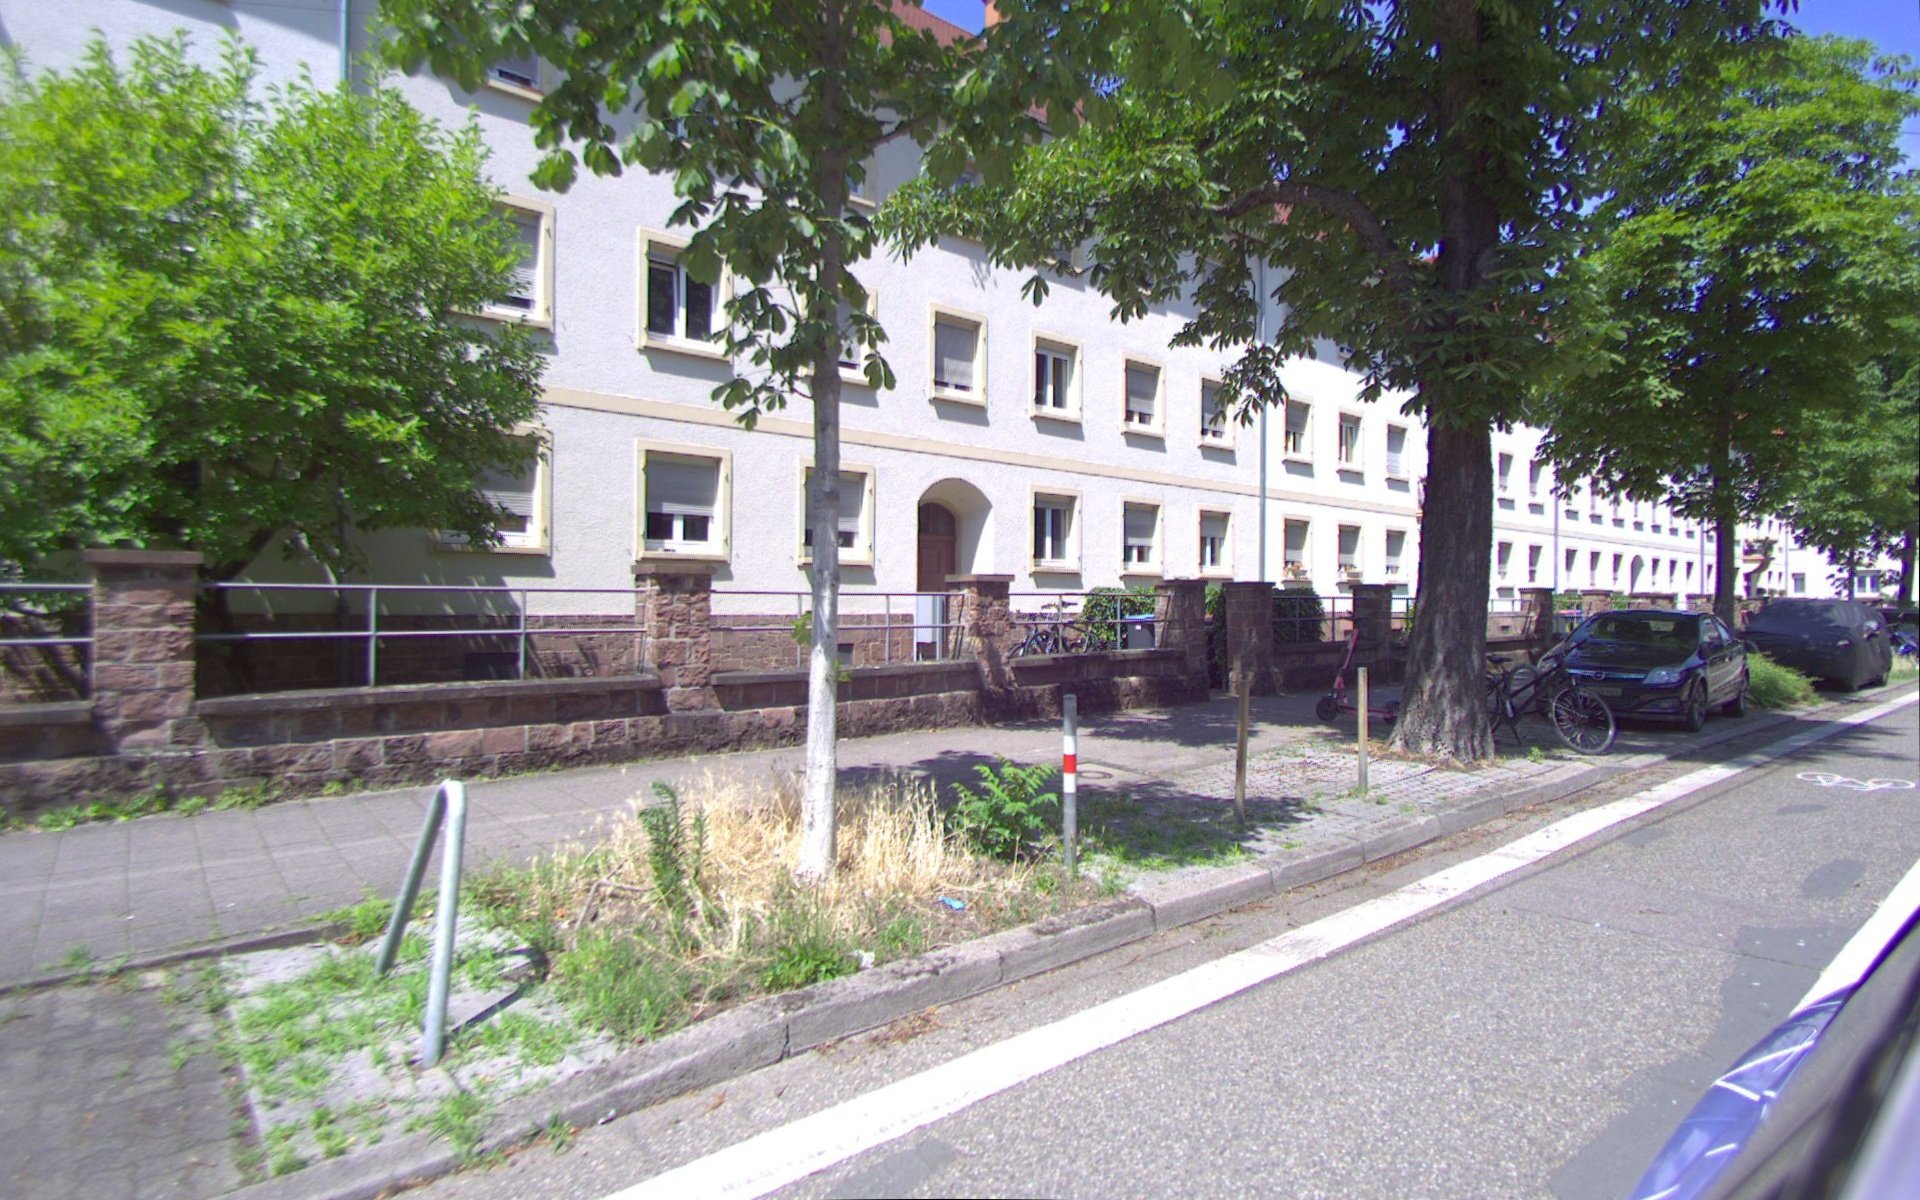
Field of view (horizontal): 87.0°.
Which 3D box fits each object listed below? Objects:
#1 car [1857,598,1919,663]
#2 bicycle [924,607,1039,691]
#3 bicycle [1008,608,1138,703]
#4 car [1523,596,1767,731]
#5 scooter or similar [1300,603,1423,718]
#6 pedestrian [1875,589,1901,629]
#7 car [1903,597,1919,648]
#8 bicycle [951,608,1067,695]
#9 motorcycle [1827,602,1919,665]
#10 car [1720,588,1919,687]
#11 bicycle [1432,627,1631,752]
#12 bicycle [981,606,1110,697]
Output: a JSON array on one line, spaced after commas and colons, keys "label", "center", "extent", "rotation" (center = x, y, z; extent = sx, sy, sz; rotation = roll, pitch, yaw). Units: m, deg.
[{"label": "car", "center": [24.782, 0.761, 26.309], "extent": [4.377, 1.571, 1.735], "rotation": [0, 0, -42]}, {"label": "bicycle", "center": [0.333, 0.660, 14.271], "extent": [0.478, 1.092, 1.894], "rotation": [0, 0, 44]}, {"label": "bicycle", "center": [1.456, 0.664, 12.794], "extent": [1.890, 1.092, 0.479], "rotation": [0, 0, -41]}, {"label": "car", "center": [8.941, 0.695, 13.063], "extent": [4.283, 1.437, 1.696], "rotation": [0, 0, -43]}, {"label": "scooter or similar", "center": [4.416, 0.648, 11.144], "extent": [1.222, 1.228, 0.381], "rotation": [0, 0, -10]}, {"label": "pedestrian", "center": [40.995, 0.384, 44.710], "extent": [0.743, 1.690, 0.699], "rotation": [0, 3, -41]}, {"label": "car", "center": [31.160, 0.704, 32.039], "extent": [3.933, 1.534, 1.658], "rotation": [0, 0, -43]}, {"label": "bicycle", "center": [0.705, 0.673, 13.892], "extent": [0.478, 1.092, 1.894], "rotation": [0, 0, 43]}, {"label": "motorcycle", "center": [21.877, 0.781, 24.076], "extent": [1.911, 1.451, 0.661], "rotation": [0, 0, 42]}, {"label": "car", "center": [16.641, 0.641, 19.509], "extent": [4.789, 1.671, 1.953], "rotation": [1, 0, -37]}, {"label": "bicycle", "center": [5.751, 0.859, 10.242], "extent": [1.652, 1.092, 0.597], "rotation": [1, 0, 43]}, {"label": "bicycle", "center": [1.139, 0.632, 13.154], "extent": [1.890, 1.092, 0.479], "rotation": [0, 0, -41]}]
